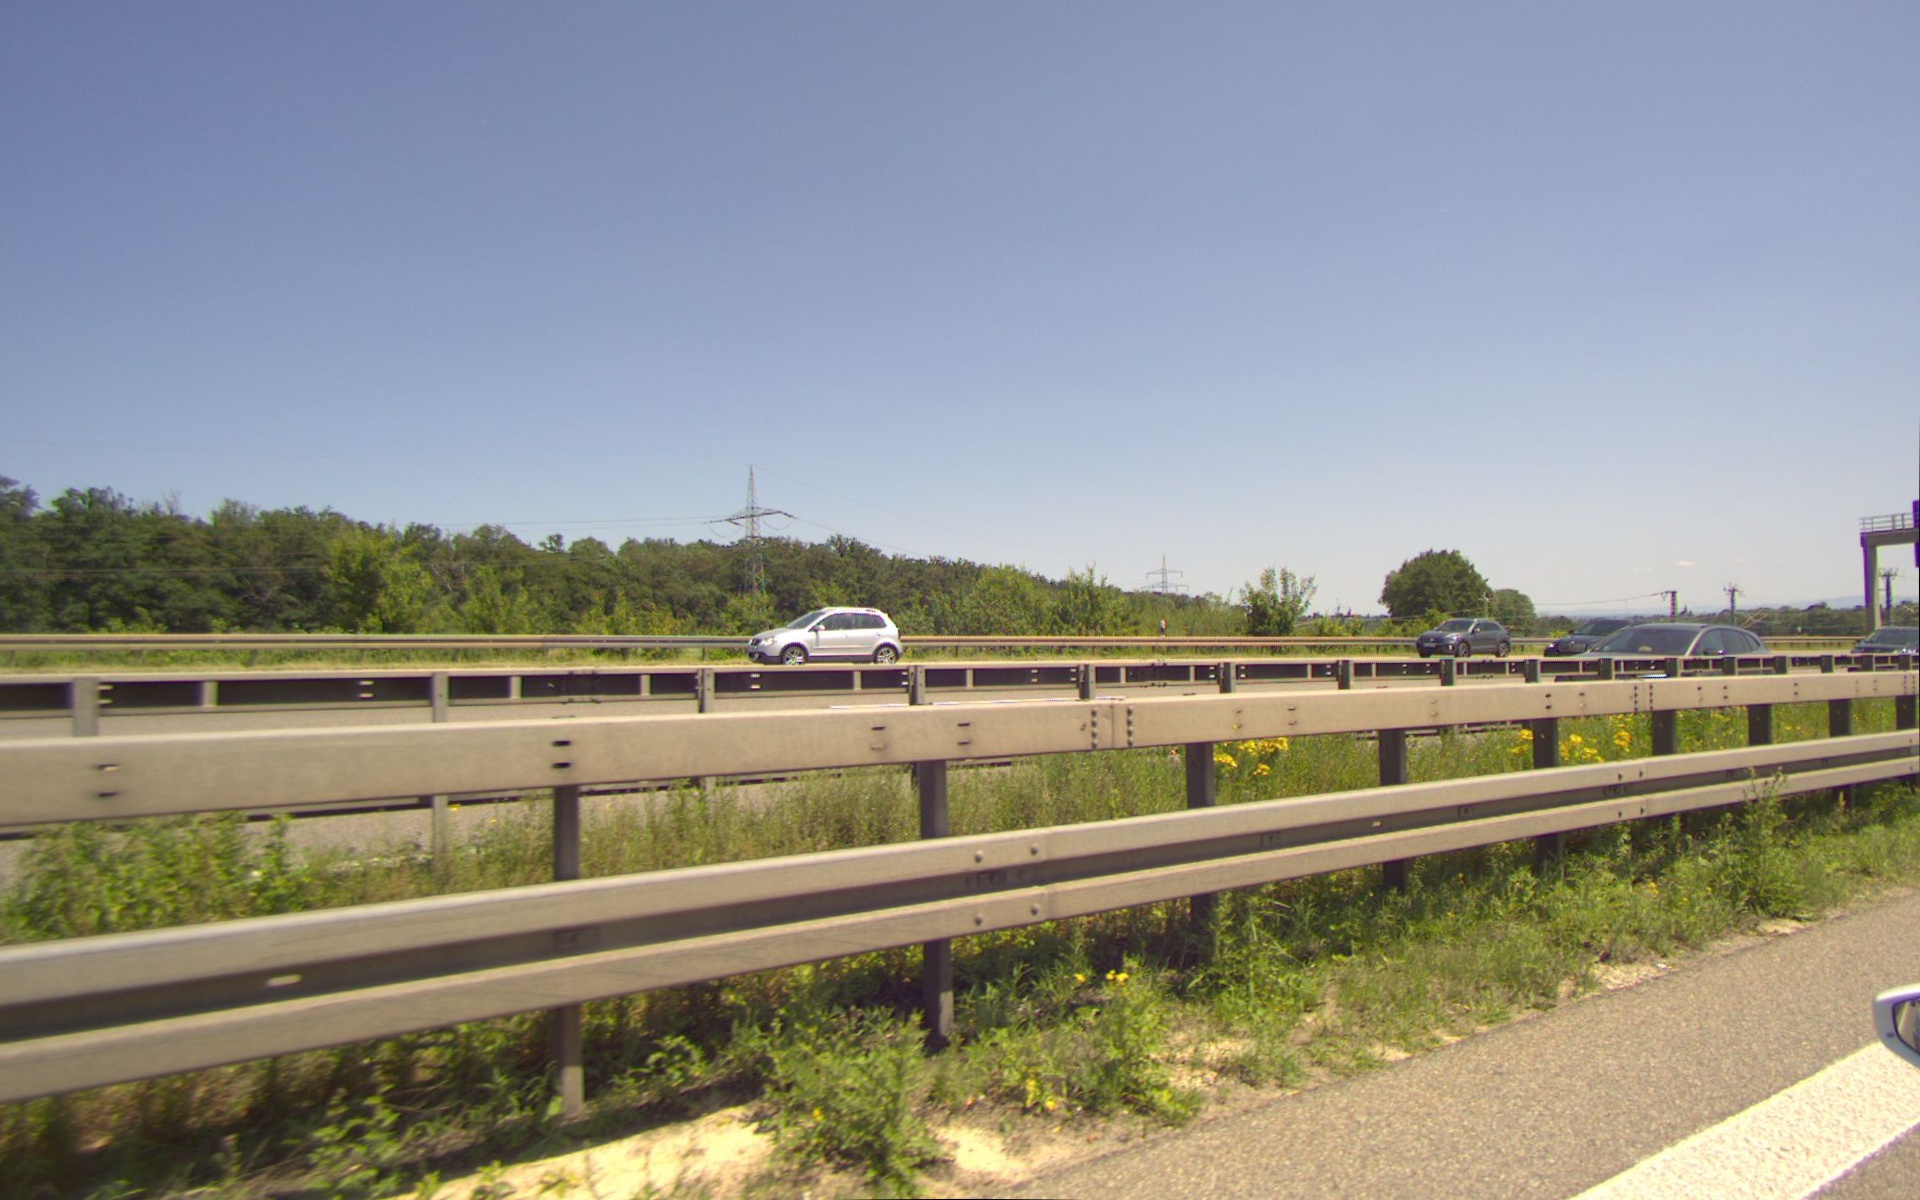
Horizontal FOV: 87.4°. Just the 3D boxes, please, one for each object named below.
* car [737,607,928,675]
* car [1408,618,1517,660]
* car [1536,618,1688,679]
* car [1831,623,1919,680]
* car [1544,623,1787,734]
[{"bbox_3d":[-3.210,1.004,25.357,4.320,1.552,2.095,1,-1,-30],"label":"car"},{"bbox_3d":[19.634,1.520,39.249,4.174,1.552,1.838,1,-1,-30],"label":"car"},{"bbox_3d":[19.693,1.437,30.300,4.851,1.677,1.839,1,-1,-30],"label":"car"},{"bbox_3d":[28.920,1.580,31.156,4.038,1.646,1.667,2,-1,-30],"label":"car"},{"bbox_3d":[11.921,1.253,16.913,4.310,1.636,1.668,2,-1,-29],"label":"car"}]
